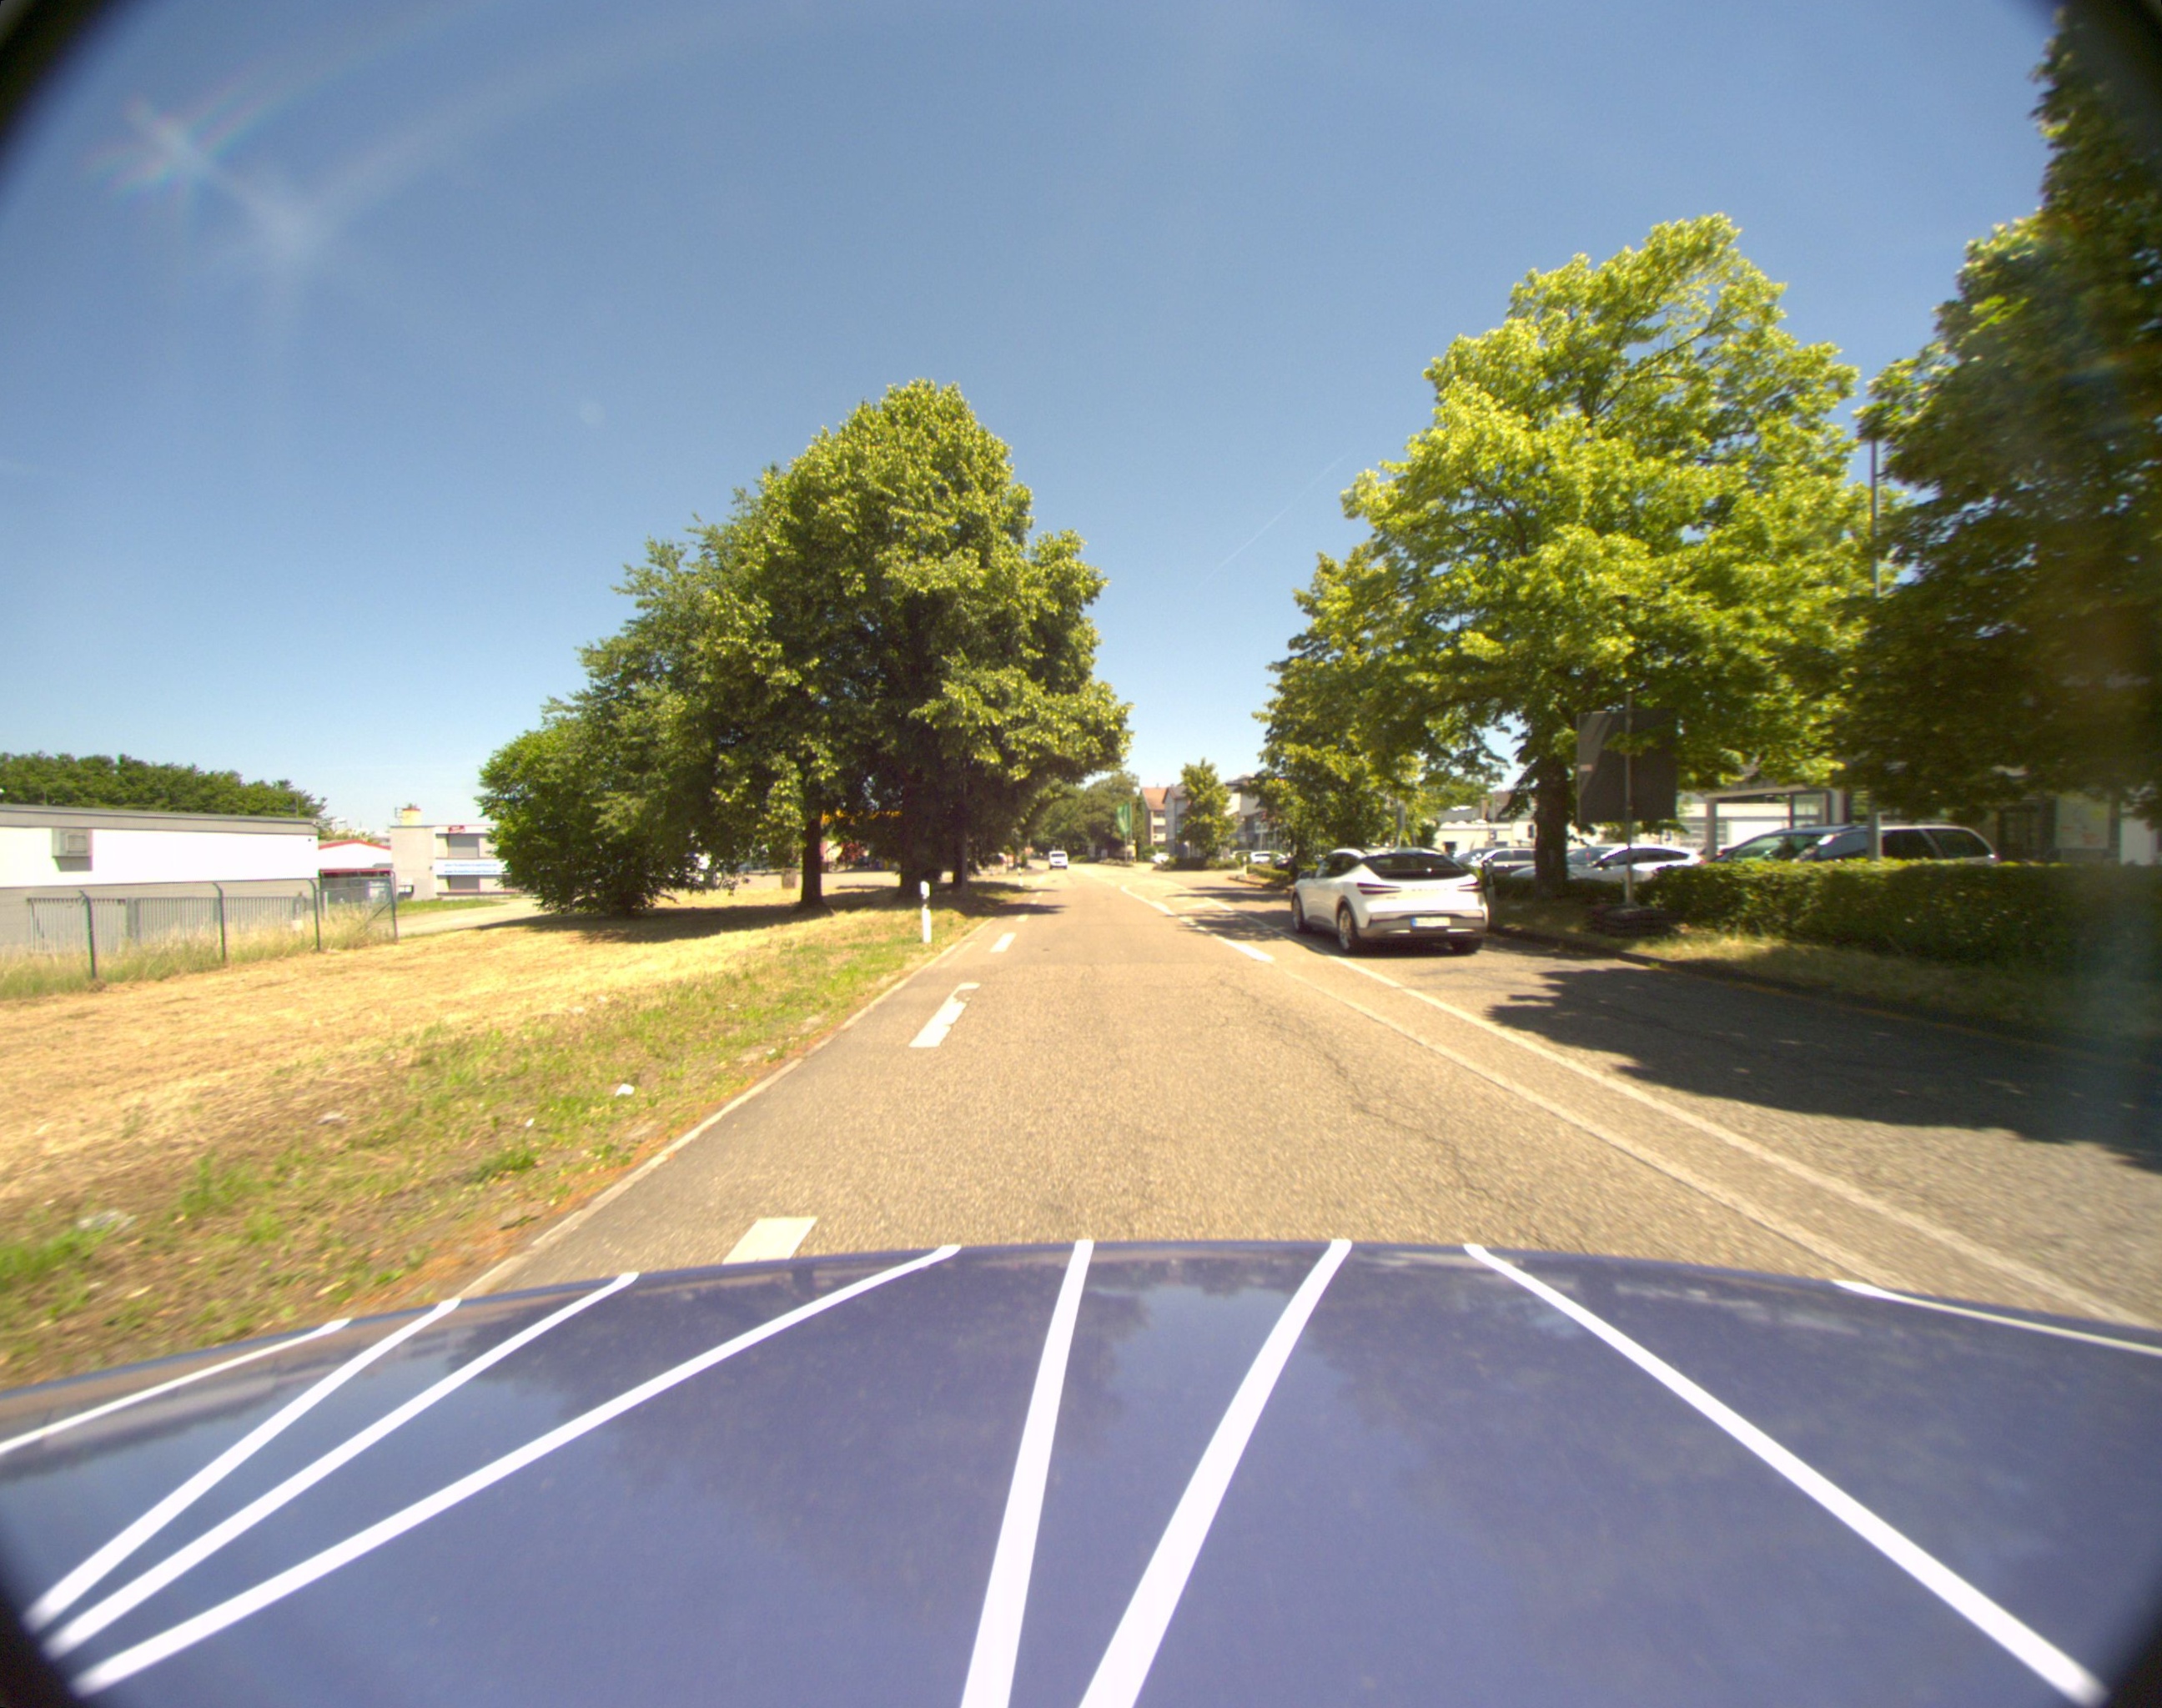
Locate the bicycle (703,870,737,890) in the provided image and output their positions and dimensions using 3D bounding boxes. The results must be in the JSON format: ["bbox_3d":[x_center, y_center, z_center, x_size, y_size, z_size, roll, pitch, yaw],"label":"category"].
[{"bbox_3d":[-21.251,1.535,44.734,1.697,1.091,0.468,-2,1,1],"label":"bicycle"}]

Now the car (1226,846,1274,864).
[{"bbox_3d":[16.762,0.080,75.450,4.537,1.654,2.002,-2,0,13],"label":"car"}]

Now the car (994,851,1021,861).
[{"bbox_3d":[-11.511,0.321,119.071,4.237,1.525,1.957,0,0,-7],"label":"car"}]

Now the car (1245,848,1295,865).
[{"bbox_3d":[16.767,0.229,67.642,4.191,1.438,1.981,-2,0,11],"label":"car"}]

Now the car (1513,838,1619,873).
[{"bbox_3d":[25.678,0.053,40.291,4.325,1.646,2.113,-2,1,-5],"label":"car"}]

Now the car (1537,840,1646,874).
[{"bbox_3d":[25.408,0.133,37.907,4.325,1.521,1.826,-2,1,-5],"label":"car"}]

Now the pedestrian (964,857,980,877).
[{"bbox_3d":[-7.968,0.930,55.675,0.869,1.413,0.769,-2,1,-42],"label":"pedestrian"}]

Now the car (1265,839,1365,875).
[{"bbox_3d":[12.558,0.130,41.003,4.718,1.752,2.098,-2,1,3],"label":"car"}]

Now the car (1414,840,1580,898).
[{"bbox_3d":[12.695,0.422,23.373,4.040,1.516,1.933,-3,1,-2],"label":"car"}]

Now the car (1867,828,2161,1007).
[{"bbox_3d":[12.715,0.629,9.165,4.413,1.766,2.072,-3,1,-2],"label":"car"}]

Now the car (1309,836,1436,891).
[{"bbox_3d":[11.709,0.355,30.735,4.369,1.969,1.904,-2,1,-4],"label":"car"}]

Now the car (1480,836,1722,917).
[{"bbox_3d":[12.127,0.492,17.915,4.413,1.611,1.894,-3,1,-2],"label":"car"}]

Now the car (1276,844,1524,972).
[{"bbox_3d":[4.802,0.691,12.305,2.099,1.579,4.474,-3,1,0],"label":"car"}]

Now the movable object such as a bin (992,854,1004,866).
[{"bbox_3d":[-10.458,0.756,95.764,1.438,1.429,1.467,0,0,-5],"label":"movable object such as a bin"}]

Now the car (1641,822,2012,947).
[{"bbox_3d":[12.590,0.468,13.061,4.413,1.766,2.072,-3,1,-2],"label":"car"}]

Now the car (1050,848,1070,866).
[{"bbox_3d":[-2.307,0.323,84.159,1.797,1.904,3.637,-1,1,-8],"label":"car"}]

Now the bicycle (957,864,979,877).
[{"bbox_3d":[-8.342,1.213,56.039,1.601,0.907,0.378,-2,1,-42],"label":"bicycle"}]

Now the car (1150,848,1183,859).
[{"bbox_3d":[12.243,-0.102,108.913,4.361,1.430,1.935,-2,1,-28],"label":"car"}]

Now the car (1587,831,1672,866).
[{"bbox_3d":[43.534,-0.466,60.543,2.287,2.612,5.897,-2,1,-3],"label":"car"}]
